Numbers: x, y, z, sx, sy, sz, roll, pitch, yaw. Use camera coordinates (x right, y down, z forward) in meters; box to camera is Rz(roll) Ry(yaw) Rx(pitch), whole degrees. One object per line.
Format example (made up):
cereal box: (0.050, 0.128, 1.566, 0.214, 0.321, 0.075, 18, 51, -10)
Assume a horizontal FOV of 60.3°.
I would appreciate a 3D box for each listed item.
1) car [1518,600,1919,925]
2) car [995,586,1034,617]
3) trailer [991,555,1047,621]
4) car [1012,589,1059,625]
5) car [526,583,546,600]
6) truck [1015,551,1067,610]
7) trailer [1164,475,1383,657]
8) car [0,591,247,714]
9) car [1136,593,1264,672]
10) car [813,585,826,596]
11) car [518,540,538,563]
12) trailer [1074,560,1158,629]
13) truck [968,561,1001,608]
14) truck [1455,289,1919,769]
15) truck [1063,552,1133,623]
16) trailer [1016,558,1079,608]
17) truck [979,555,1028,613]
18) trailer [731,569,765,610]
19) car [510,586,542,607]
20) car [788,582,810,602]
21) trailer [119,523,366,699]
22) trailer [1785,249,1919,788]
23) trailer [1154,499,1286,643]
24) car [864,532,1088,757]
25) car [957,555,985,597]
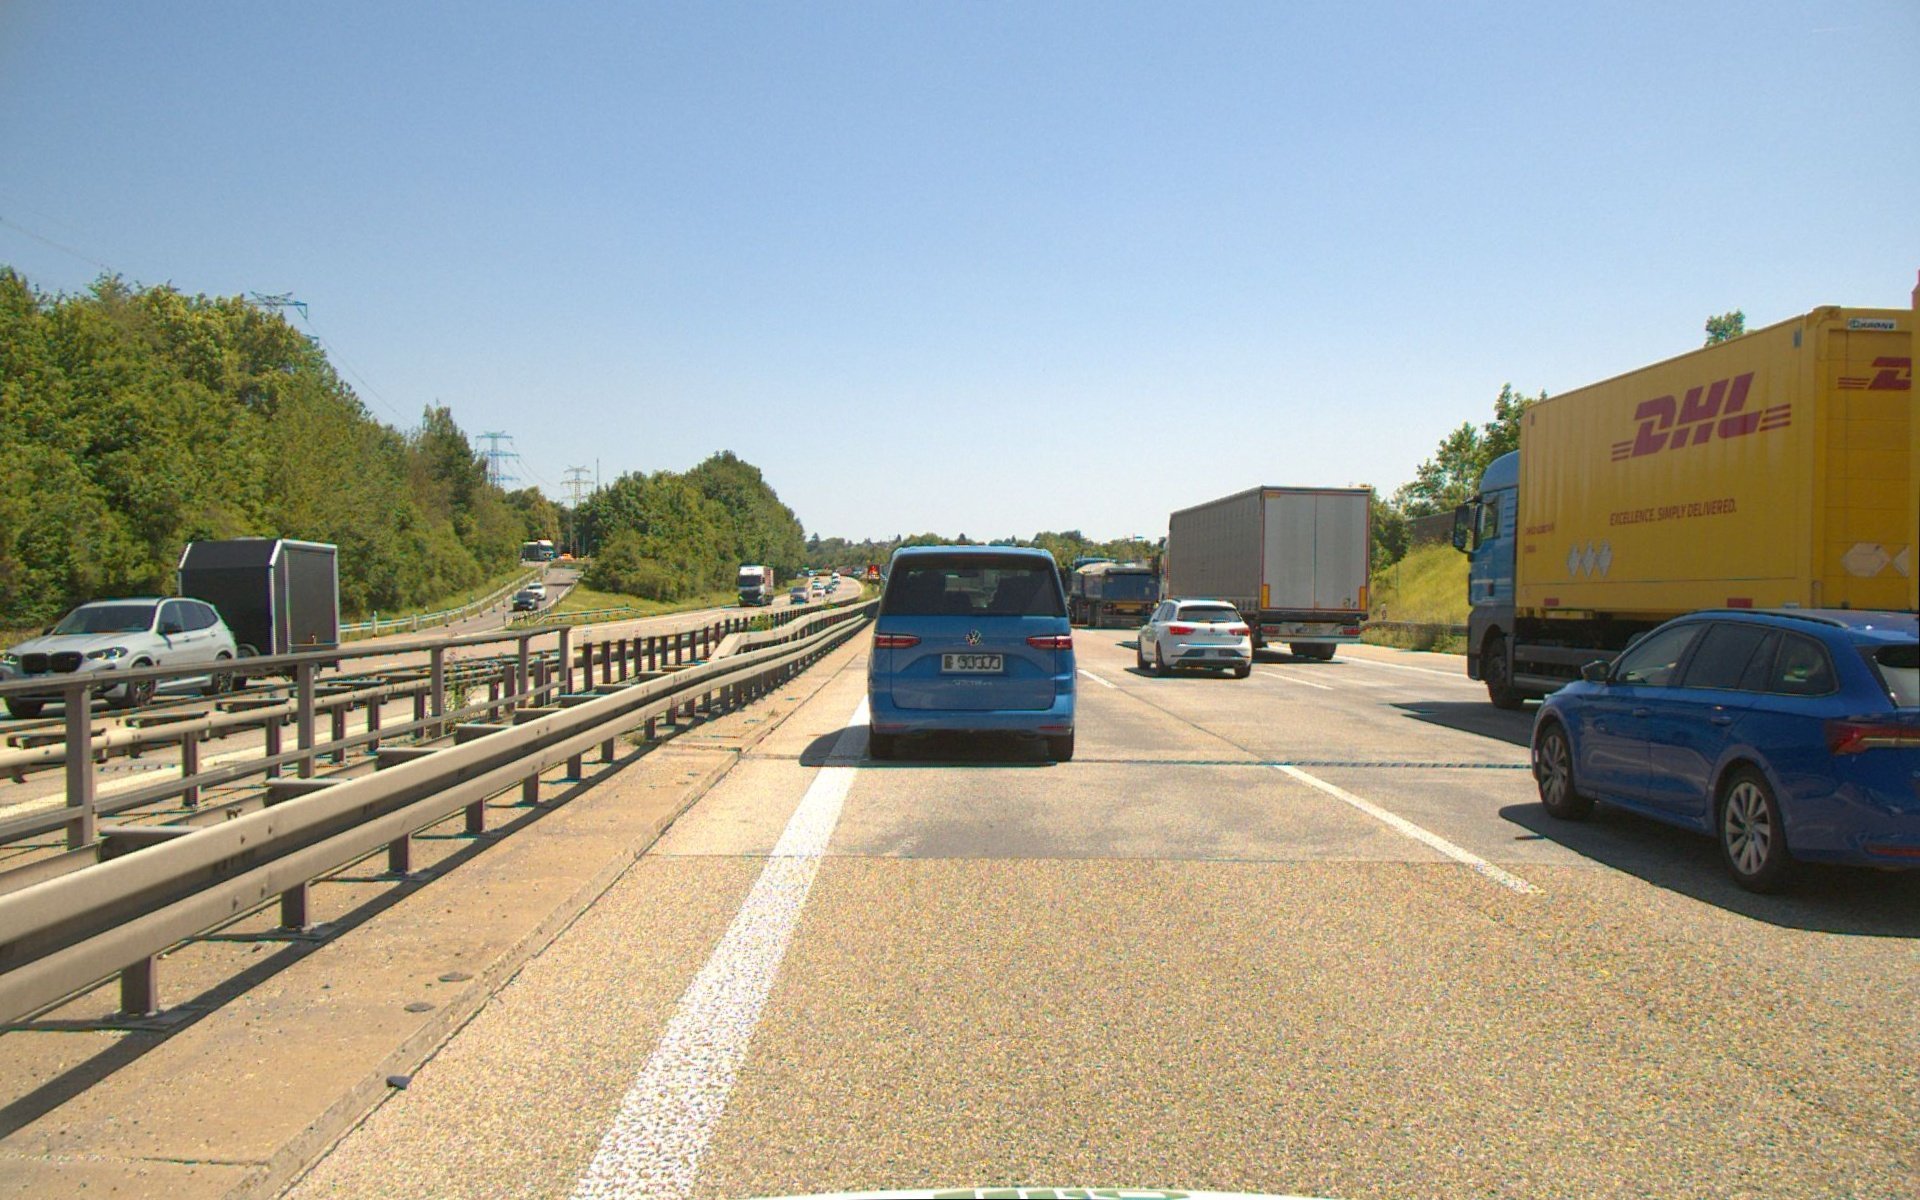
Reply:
car: (4.947, 0.762, 9.832, 1.671, 1.466, 4.426, 1, 0, -1)
car: (2.836, 0.068, 86.894, 1.745, 1.551, 3.998, 1, 0, -2)
trailer: (4.897, -0.928, 140.876, 3.574, 5.226, 13.067, 1, 0, -3)
car: (3.286, 0.323, 72.434, 1.803, 1.480, 3.999, 1, 0, 0)
car: (-39.135, -0.761, 152.630, 1.657, 1.481, 4.328, 1, 0, -15)
truck: (6.003, -1.407, 123.883, 3.551, 4.166, 7.524, 1, 0, 1)
trailer: (7.994, -0.812, 44.532, 2.902, 4.120, 13.747, 0, 0, -2)
car: (-12.916, 0.757, 25.487, 1.833, 1.653, 4.628, -3, 0, -1)
car: (4.536, 0.574, 31.738, 1.829, 1.385, 4.000, 1, 0, -1)
car: (-20.928, -1.432, 246.513, 1.814, 1.493, 4.302, -1, 0, -3)
car: (-59.195, -6.620, 226.554, 2.038, 2.930, 6.692, -1, 0, -20)
trailer: (6.992, -0.322, 75.562, 2.688, 2.886, 9.113, 1, 1, -2)
truck: (2.684, -1.672, 183.708, 3.006, 5.006, 10.685, 1, 0, -2)
truck: (8.702, -0.575, 19.454, 2.709, 4.181, 9.951, 1, 0, 0)
truck: (6.826, -0.677, 82.747, 2.688, 3.369, 7.131, 1, 1, -2)
trailer: (5.940, -1.047, 115.251, 3.572, 3.133, 15.771, 1, 0, 0)
truck: (4.155, -1.470, 162.849, 3.549, 5.304, 15.678, 1, 0, -3)
trailer: (-21.498, -1.100, 168.092, 2.701, 4.045, 6.129, -2, 1, -2)
car: (-35.497, -0.290, 135.302, 1.956, 1.603, 5.264, 1, 0, -9)
car: (-17.441, -0.849, 179.097, 1.953, 1.975, 4.895, 1, 0, -1)
trailer: (-12.987, 0.205, 30.412, 2.122, 2.825, 5.375, -3, 0, -1)
trailer: (8.794, -0.601, 10.177, 2.709, 4.189, 9.377, 1, 0, 0)
trailer: (7.849, -0.873, 50.751, 2.865, 4.114, 6.409, 0, 1, -2)
car: (0.125, 0.391, 16.001, 1.863, 1.870, 3.999, 1, 0, -1)
car: (1.404, -3.075, 215.450, 3.153, 5.349, 8.141, 1, 0, -2)
